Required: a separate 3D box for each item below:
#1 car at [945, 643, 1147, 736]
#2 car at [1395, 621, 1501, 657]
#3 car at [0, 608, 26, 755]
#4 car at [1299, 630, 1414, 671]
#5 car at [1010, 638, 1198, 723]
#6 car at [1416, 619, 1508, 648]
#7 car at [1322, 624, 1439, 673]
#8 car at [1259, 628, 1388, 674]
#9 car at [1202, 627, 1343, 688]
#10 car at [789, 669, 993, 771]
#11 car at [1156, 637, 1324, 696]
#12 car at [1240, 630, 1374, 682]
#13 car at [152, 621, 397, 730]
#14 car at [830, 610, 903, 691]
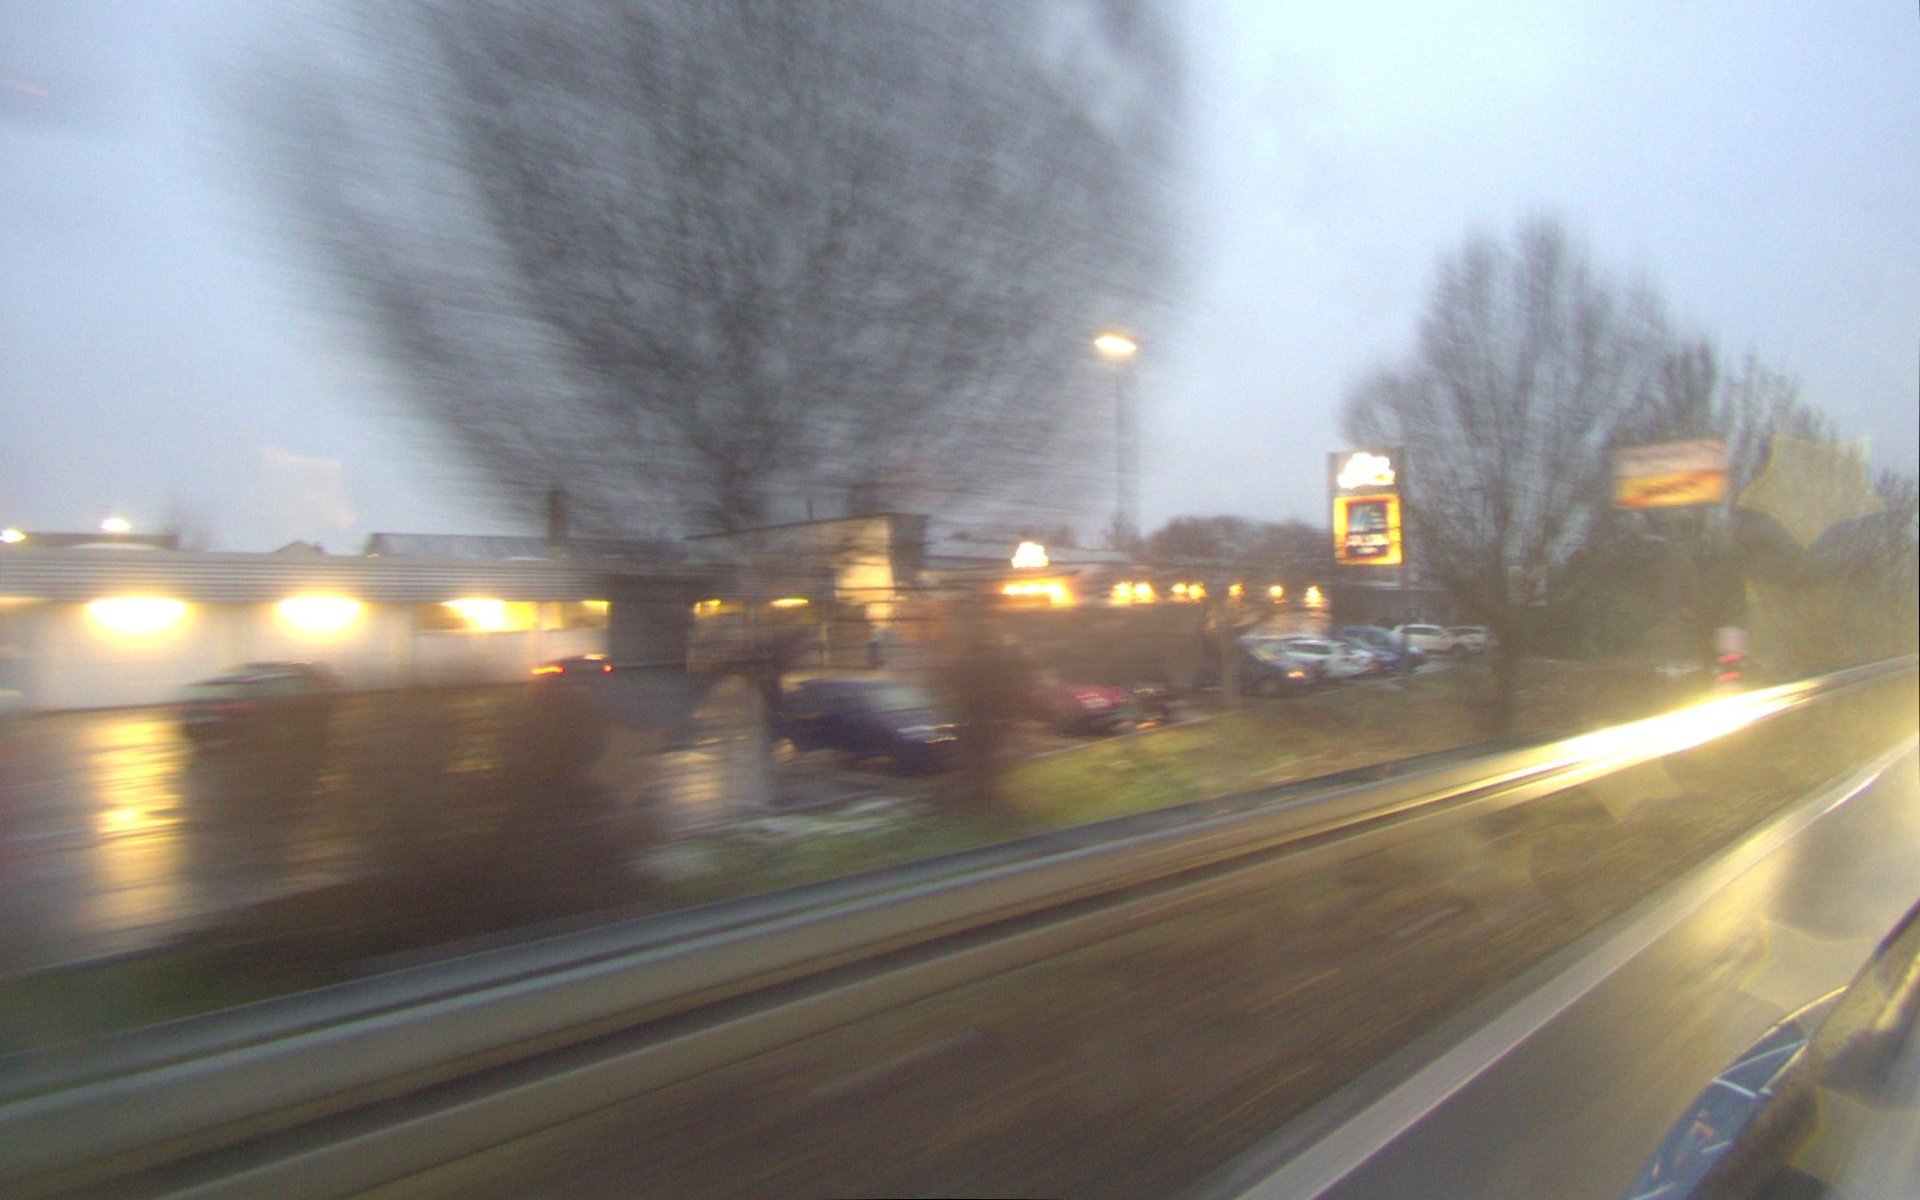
[{"bbox_3d":[1.898,1.928,22.813,4.111,1.746,1.997,0,0,34],"label":"car"},{"bbox_3d":[24.290,1.931,50.432,4.386,1.737,1.970,-2,-2,41],"label":"car"},{"bbox_3d":[-19.707,1.700,17.268,2.062,2.810,5.629,-3,1,3],"label":"car"},{"bbox_3d":[15.618,1.979,39.930,3.849,1.497,1.975,-2,-2,35],"label":"car"},{"bbox_3d":[3.496,1.884,24.719,4.110,1.751,1.998,0,1,33],"label":"car"},{"bbox_3d":[27.523,1.857,55.527,4.169,1.537,1.972,-2,-4,38],"label":"car"},{"bbox_3d":[17.641,1.996,42.476,4.232,1.878,1.975,0,-1,35],"label":"car"},{"bbox_3d":[13.750,1.907,38.359,4.232,1.651,1.975,-2,-3,35],"label":"car"},{"bbox_3d":[10.285,1.869,33.452,4.116,1.858,1.641,-2,0,37],"label":"car"},{"bbox_3d":[-1.293,2.055,18.096,3.533,1.441,1.638,-2,0,42],"label":"car"},{"bbox_3d":[8.540,1.974,31.102,4.706,1.508,1.641,0,1,36],"label":"car"},{"bbox_3d":[12.094,1.902,35.386,4.122,1.439,1.639,3,3,40],"label":"car"},{"bbox_3d":[-14.342,1.499,21.559,2.062,1.784,4.364,-3,1,3],"label":"car"},{"bbox_3d":[-3.367,1.790,37.271,2.061,2.552,4.365,-3,1,1],"label":"car"}]
